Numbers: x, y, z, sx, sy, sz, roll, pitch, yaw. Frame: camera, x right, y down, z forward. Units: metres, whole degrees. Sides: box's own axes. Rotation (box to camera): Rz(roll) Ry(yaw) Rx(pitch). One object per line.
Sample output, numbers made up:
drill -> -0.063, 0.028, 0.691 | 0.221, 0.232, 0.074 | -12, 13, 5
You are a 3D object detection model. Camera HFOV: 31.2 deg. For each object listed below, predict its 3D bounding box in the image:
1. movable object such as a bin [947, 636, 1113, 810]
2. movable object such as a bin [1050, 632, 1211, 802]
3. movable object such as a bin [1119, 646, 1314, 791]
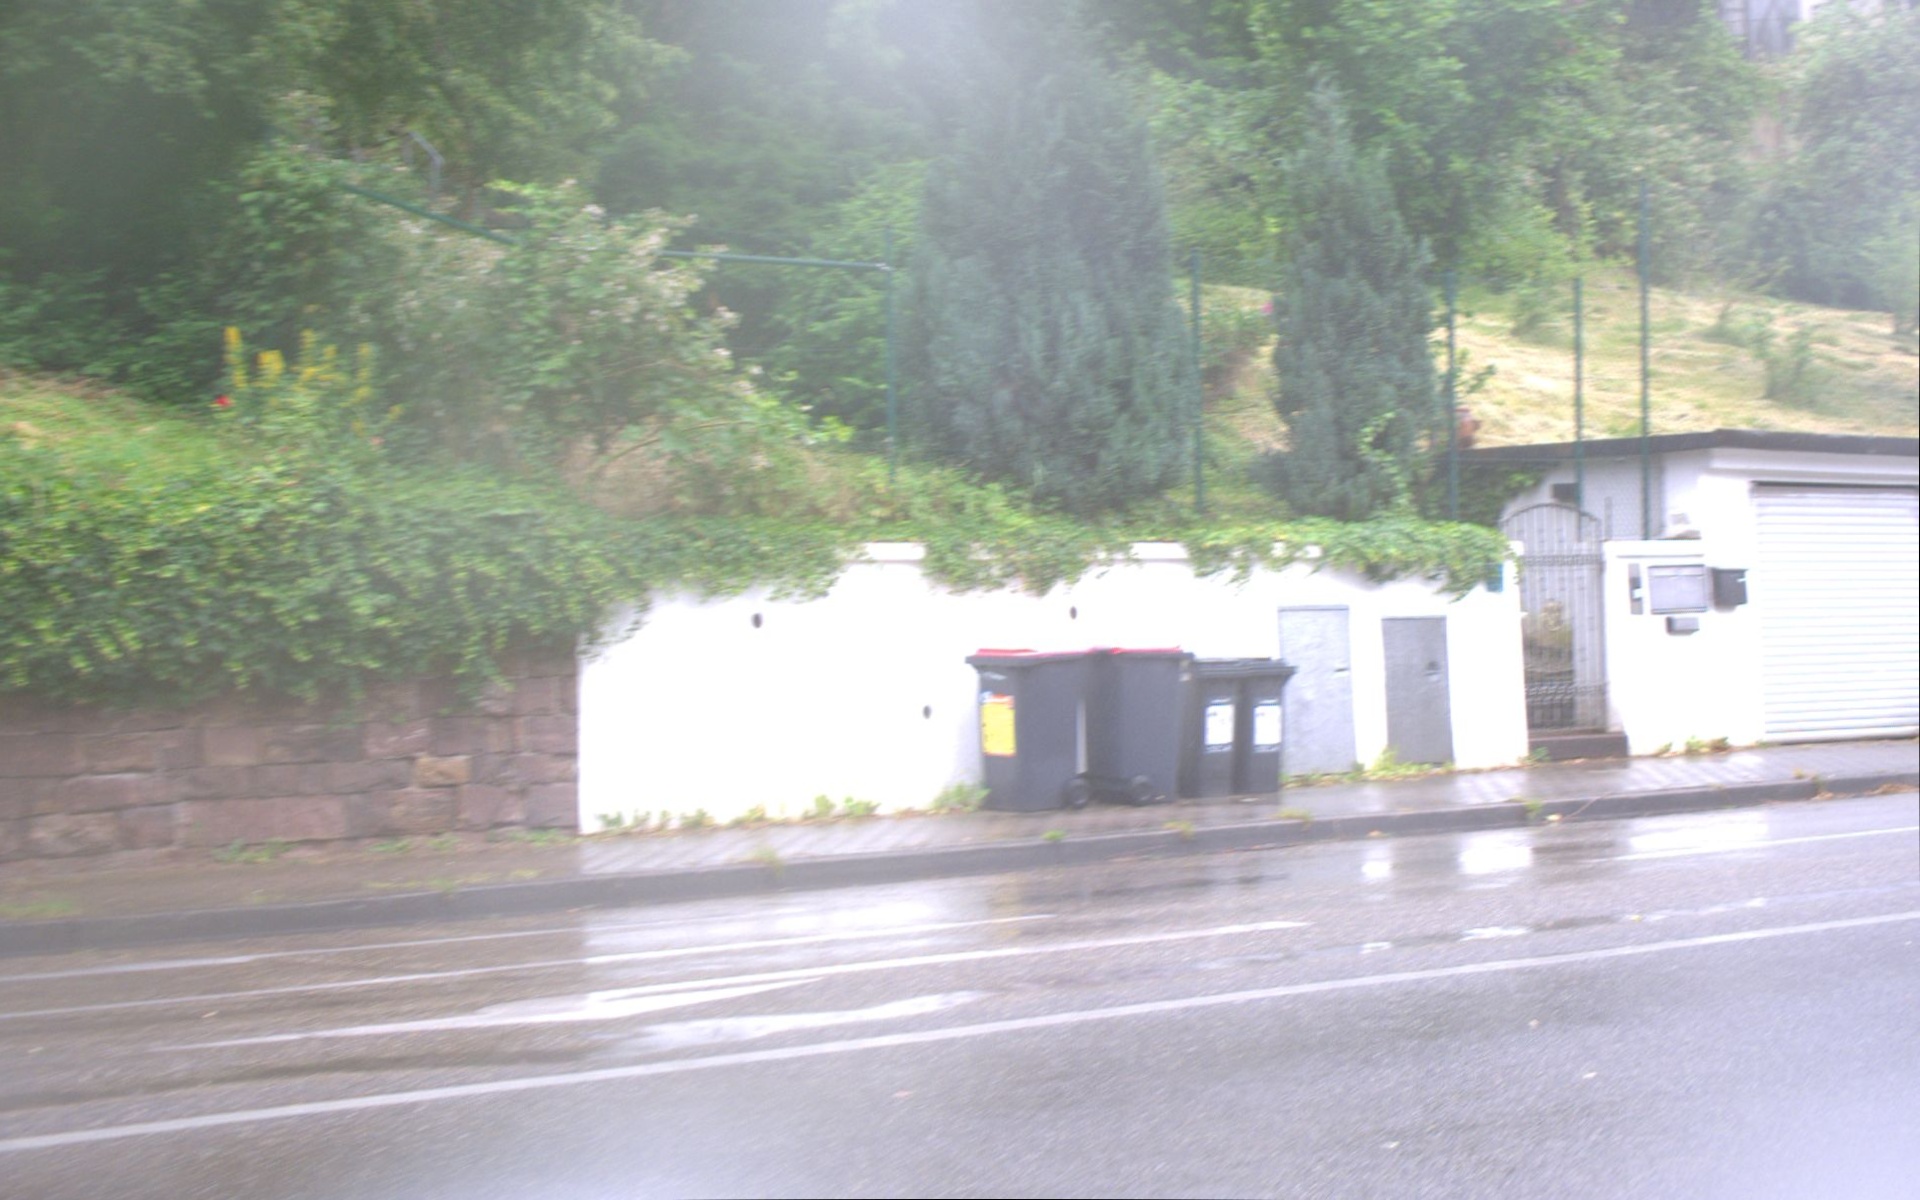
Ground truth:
movable object such as a bin -> 0.443, 0.775, 21.865 | 0.752, 1.057, 0.688 | -2, -1, -41
movable object such as a bin -> 1.106, 0.754, 22.320 | 0.792, 1.057, 0.636 | -2, -1, -41
movable object such as a bin -> 1.726, 0.793, 23.121 | 0.951, 0.913, 0.852 | -2, 0, -42
